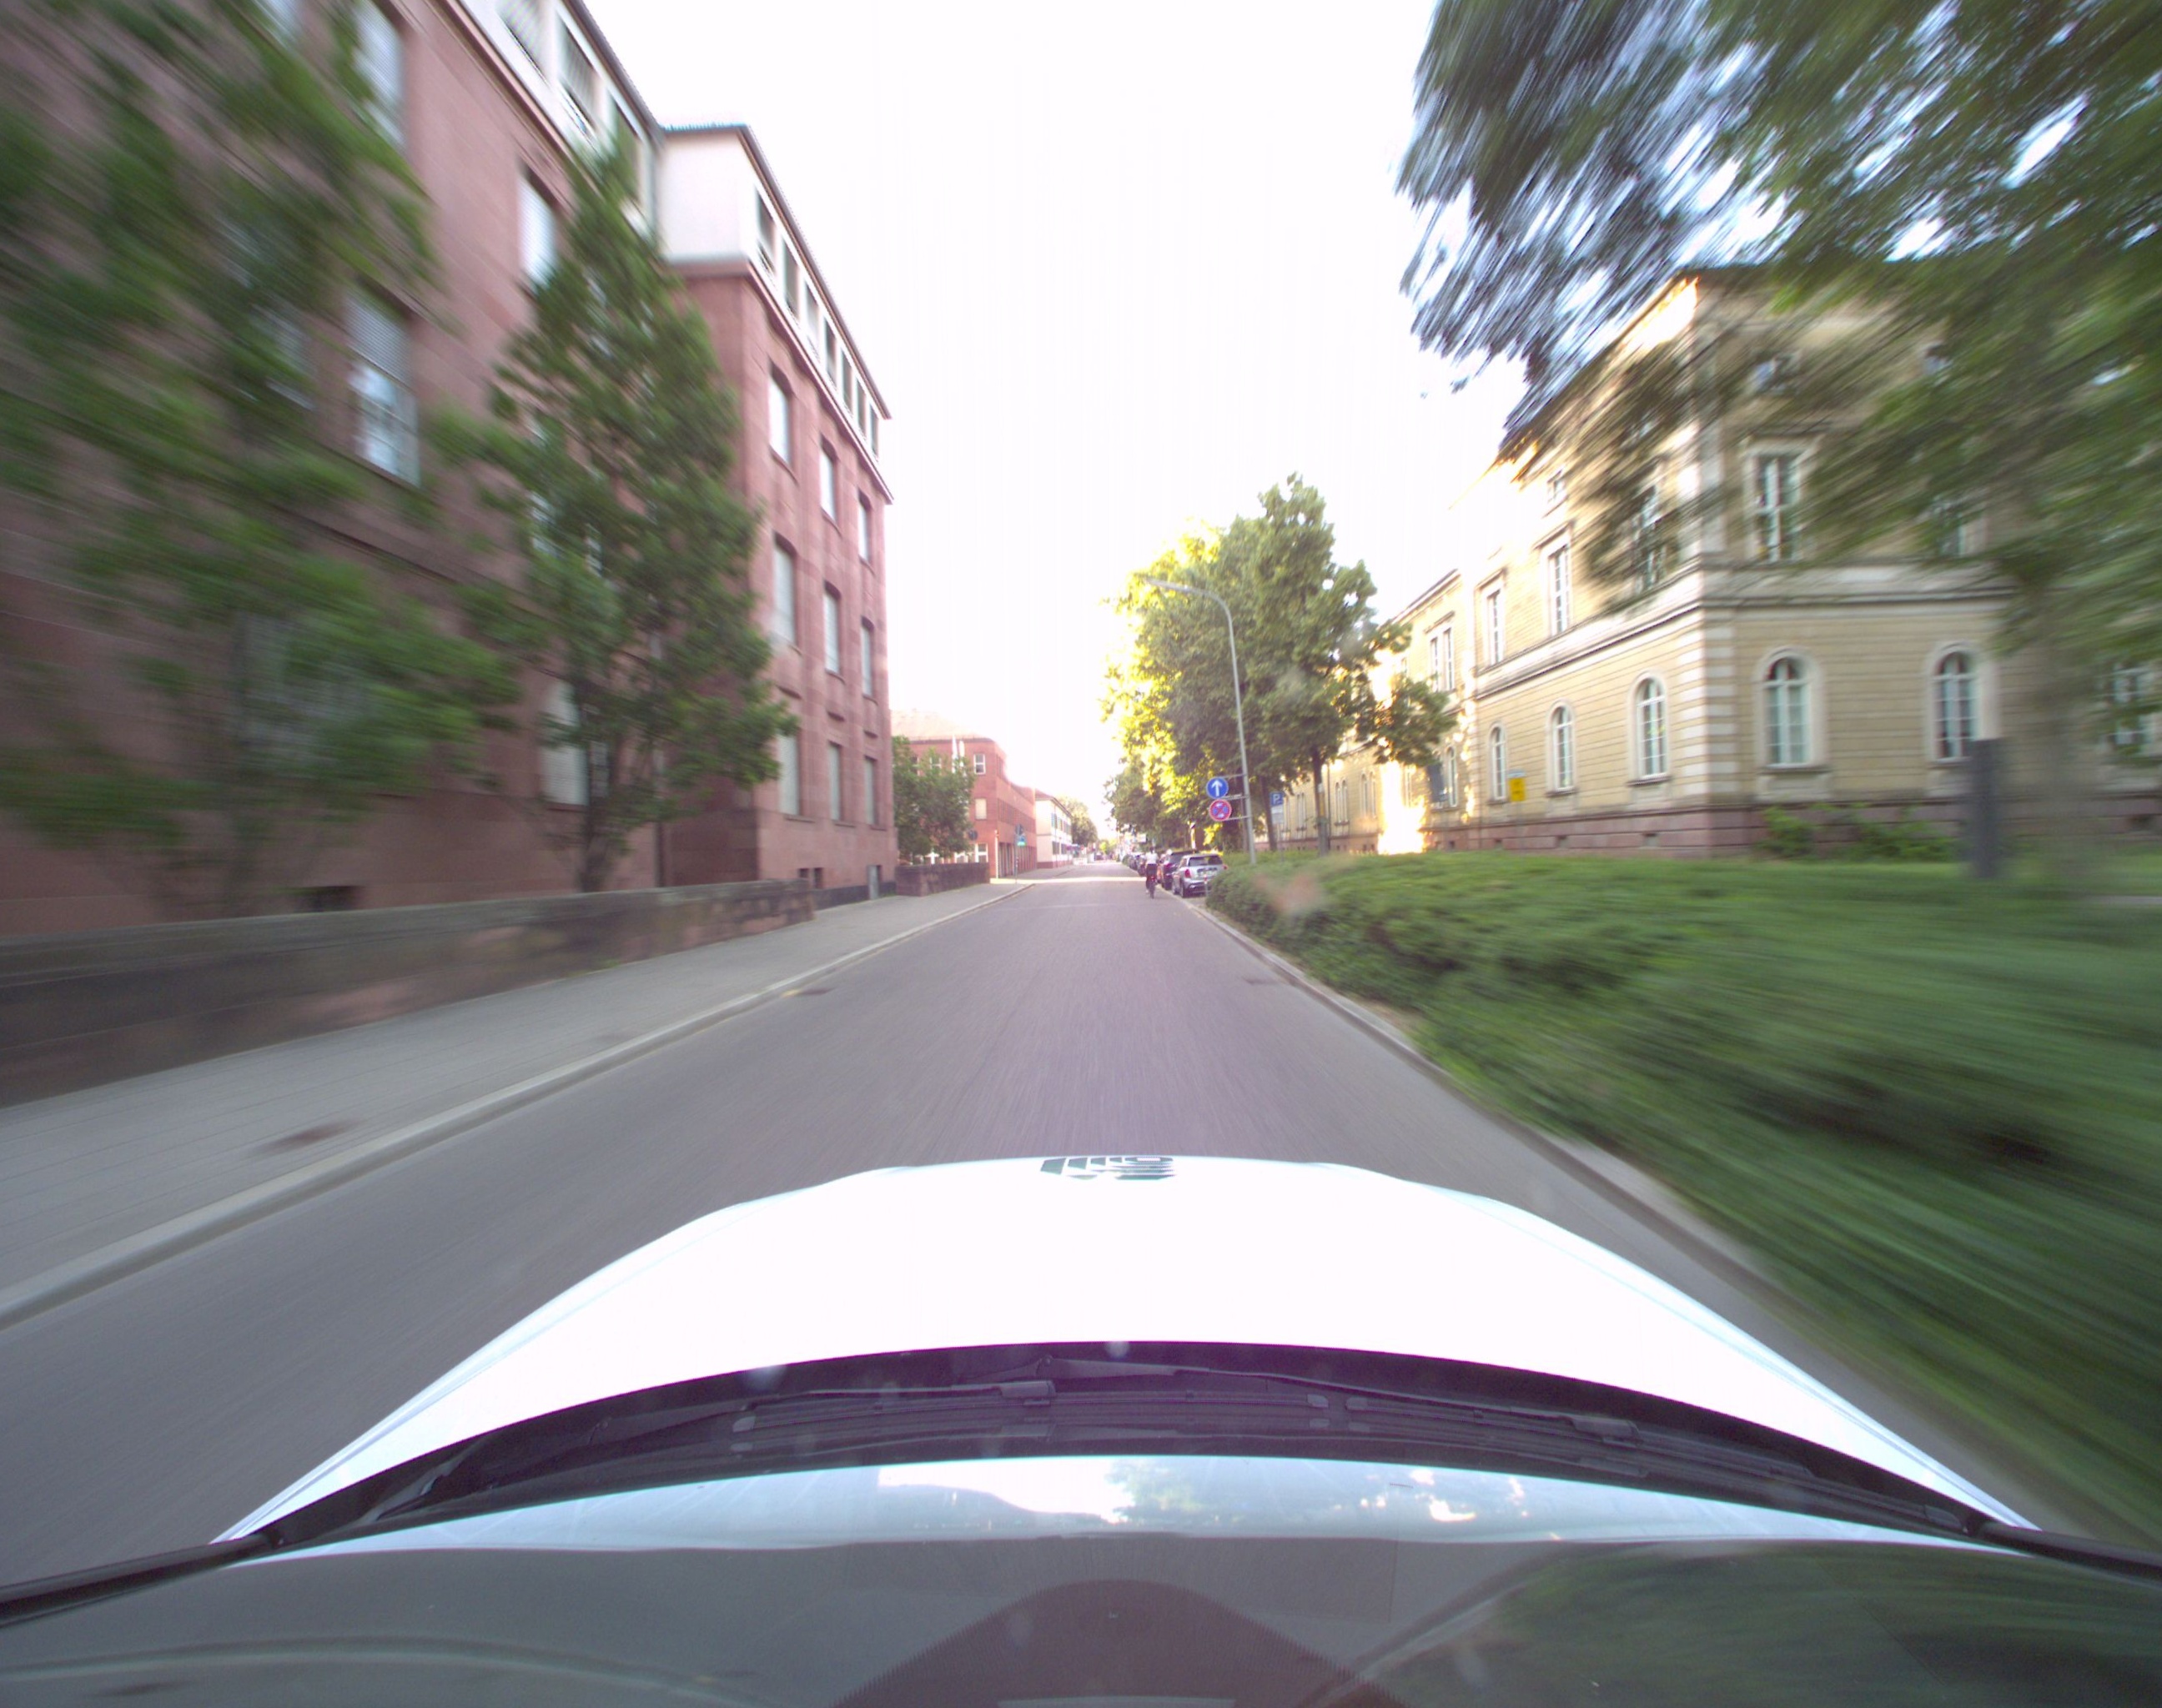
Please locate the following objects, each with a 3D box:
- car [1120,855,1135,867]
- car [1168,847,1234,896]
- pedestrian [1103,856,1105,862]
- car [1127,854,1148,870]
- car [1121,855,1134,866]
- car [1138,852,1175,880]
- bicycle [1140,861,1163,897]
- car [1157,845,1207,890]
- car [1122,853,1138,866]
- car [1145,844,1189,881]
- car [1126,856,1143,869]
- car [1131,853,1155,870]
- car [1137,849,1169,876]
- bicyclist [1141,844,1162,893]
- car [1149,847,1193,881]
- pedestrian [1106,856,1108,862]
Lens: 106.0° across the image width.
[{"bbox_3d":[7.813,1.115,138.209,2.273,1.854,4.911,-3,0,1],"label":"car"},{"bbox_3d":[4.112,0.607,28.361,1.680,1.447,3.671,-5,-1,0],"label":"car"},{"bbox_3d":[5.511,1.136,194.060,0.532,1.472,0.448,-3,0,0],"label":"pedestrian"},{"bbox_3d":[6.224,0.838,90.091,1.986,1.629,4.001,-3,0,1],"label":"car"},{"bbox_3d":[9.474,1.270,166.195,2.484,2.196,4.911,-3,0,1],"label":"car"},{"bbox_3d":[4.650,0.703,50.698,1.986,1.596,4.001,-3,0,1],"label":"car"},{"bbox_3d":[2.413,0.842,27.892,0.636,1.193,1.876,0,0,0],"label":"bicycle"},{"bbox_3d":[4.210,0.521,34.543,1.709,1.712,4.476,-3,0,3],"label":"car"},{"bbox_3d":[6.978,0.780,116.213,1.986,1.749,4.001,-3,0,1],"label":"car"},{"bbox_3d":[4.691,0.453,45.056,1.986,1.816,4.001,-3,0,1],"label":"car"},{"bbox_3d":[6.840,1.082,104.543,1.986,1.629,4.001,-3,0,1],"label":"car"},{"bbox_3d":[6.048,0.725,79.915,1.986,1.585,4.001,-3,0,1],"label":"car"},{"bbox_3d":[5.076,0.595,57.868,1.986,1.706,4.001,-3,0,1],"label":"car"},{"bbox_3d":[2.412,0.499,28.065,0.637,1.667,0.842,0,0,0],"label":"bicyclist"},{"bbox_3d":[4.460,0.487,40.690,1.710,1.537,4.048,-3,0,0],"label":"car"},{"bbox_3d":[6.199,1.130,193.954,0.532,1.472,0.448,-3,0,0],"label":"pedestrian"}]
